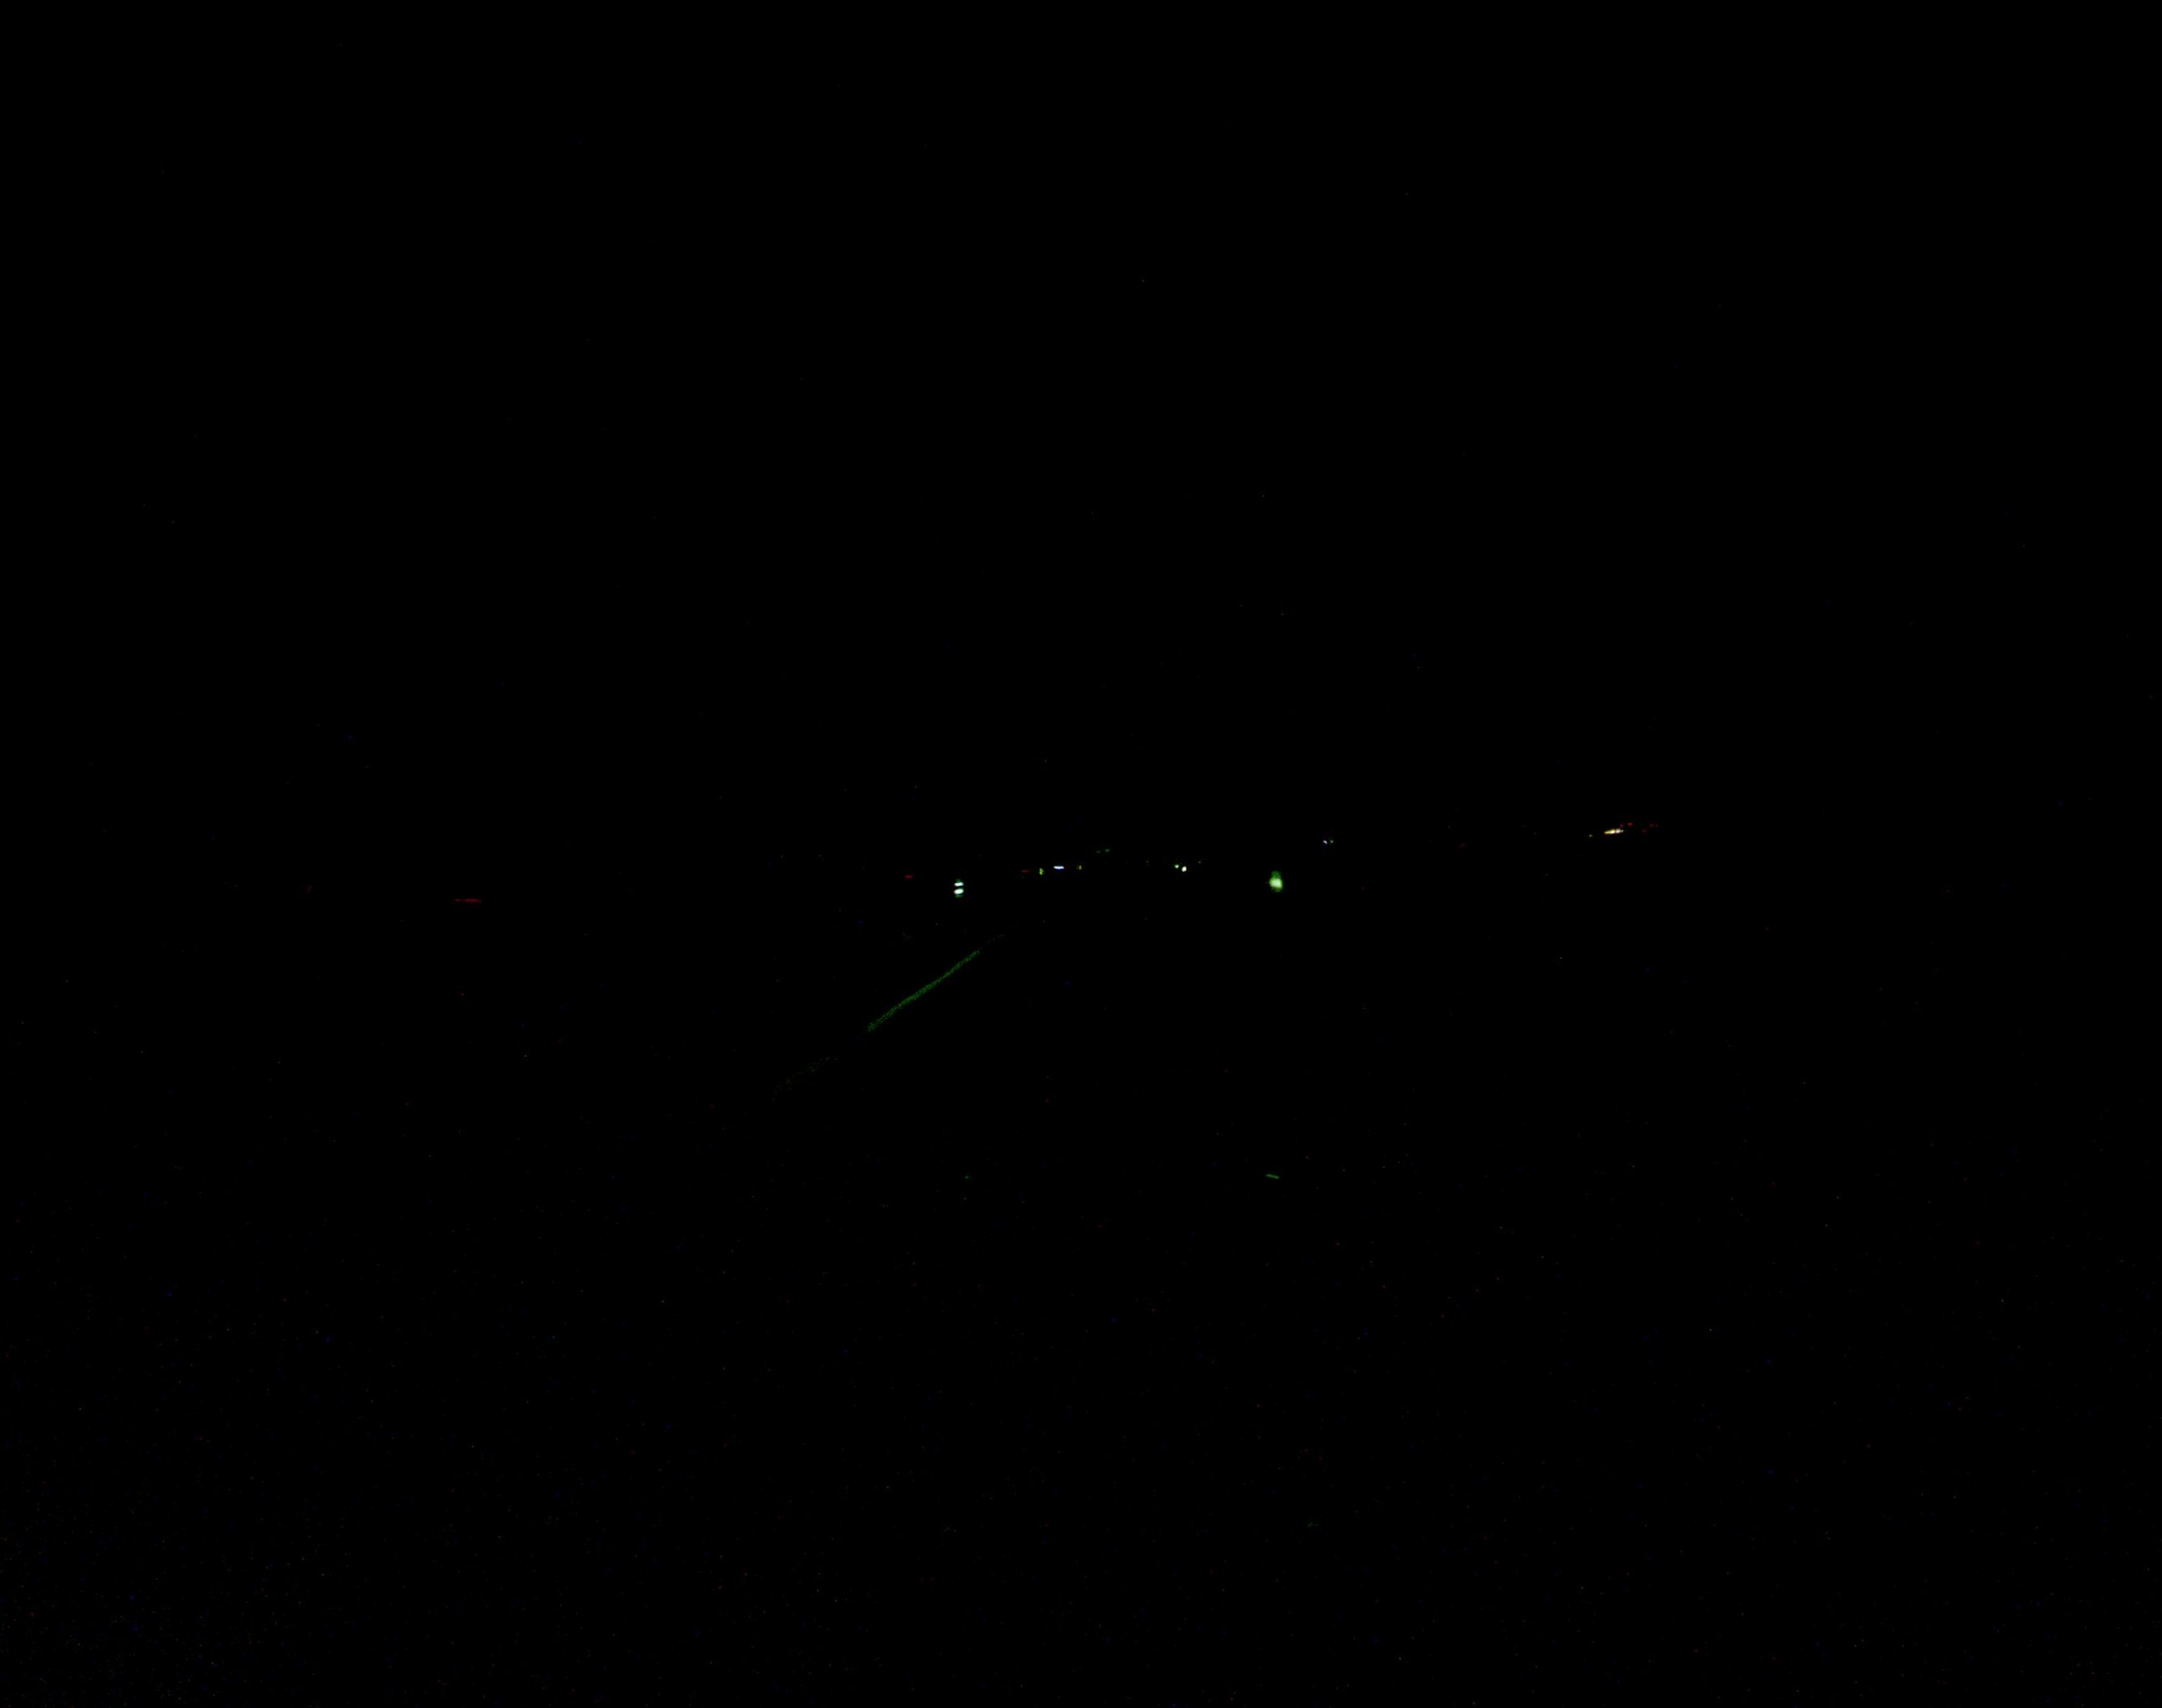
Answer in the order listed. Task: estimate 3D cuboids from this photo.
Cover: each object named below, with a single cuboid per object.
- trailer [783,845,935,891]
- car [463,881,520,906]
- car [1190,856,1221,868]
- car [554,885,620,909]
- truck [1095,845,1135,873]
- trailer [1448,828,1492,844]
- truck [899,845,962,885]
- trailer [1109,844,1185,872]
[{"bbox_3d":[-20.323,1.184,75.802,13.721,3.725,2.570,-2,0,-39],"label":"trailer"},{"bbox_3d":[-52.763,3.498,72.901,4.020,2.013,1.949,-2,0,-39],"label":"car"},{"bbox_3d":[16.577,1.067,108.327,4.020,1.519,1.977,-1,0,-39],"label":"car"},{"bbox_3d":[-37.902,3.274,62.544,4.021,1.618,1.976,-2,0,-41],"label":"car"},{"bbox_3d":[5.204,0.699,124.203,5.778,4.029,2.747,-2,0,-40],"label":"truck"},{"bbox_3d":[74.629,-3.484,156.171,12.927,2.699,2.664,-2,0,-41],"label":"trailer"},{"bbox_3d":[-14.790,1.031,80.318,5.486,3.711,2.566,-2,0,-39],"label":"truck"},{"bbox_3d":[10.577,0.522,128.670,14.086,4.029,2.747,-2,0,-40],"label":"trailer"}]
